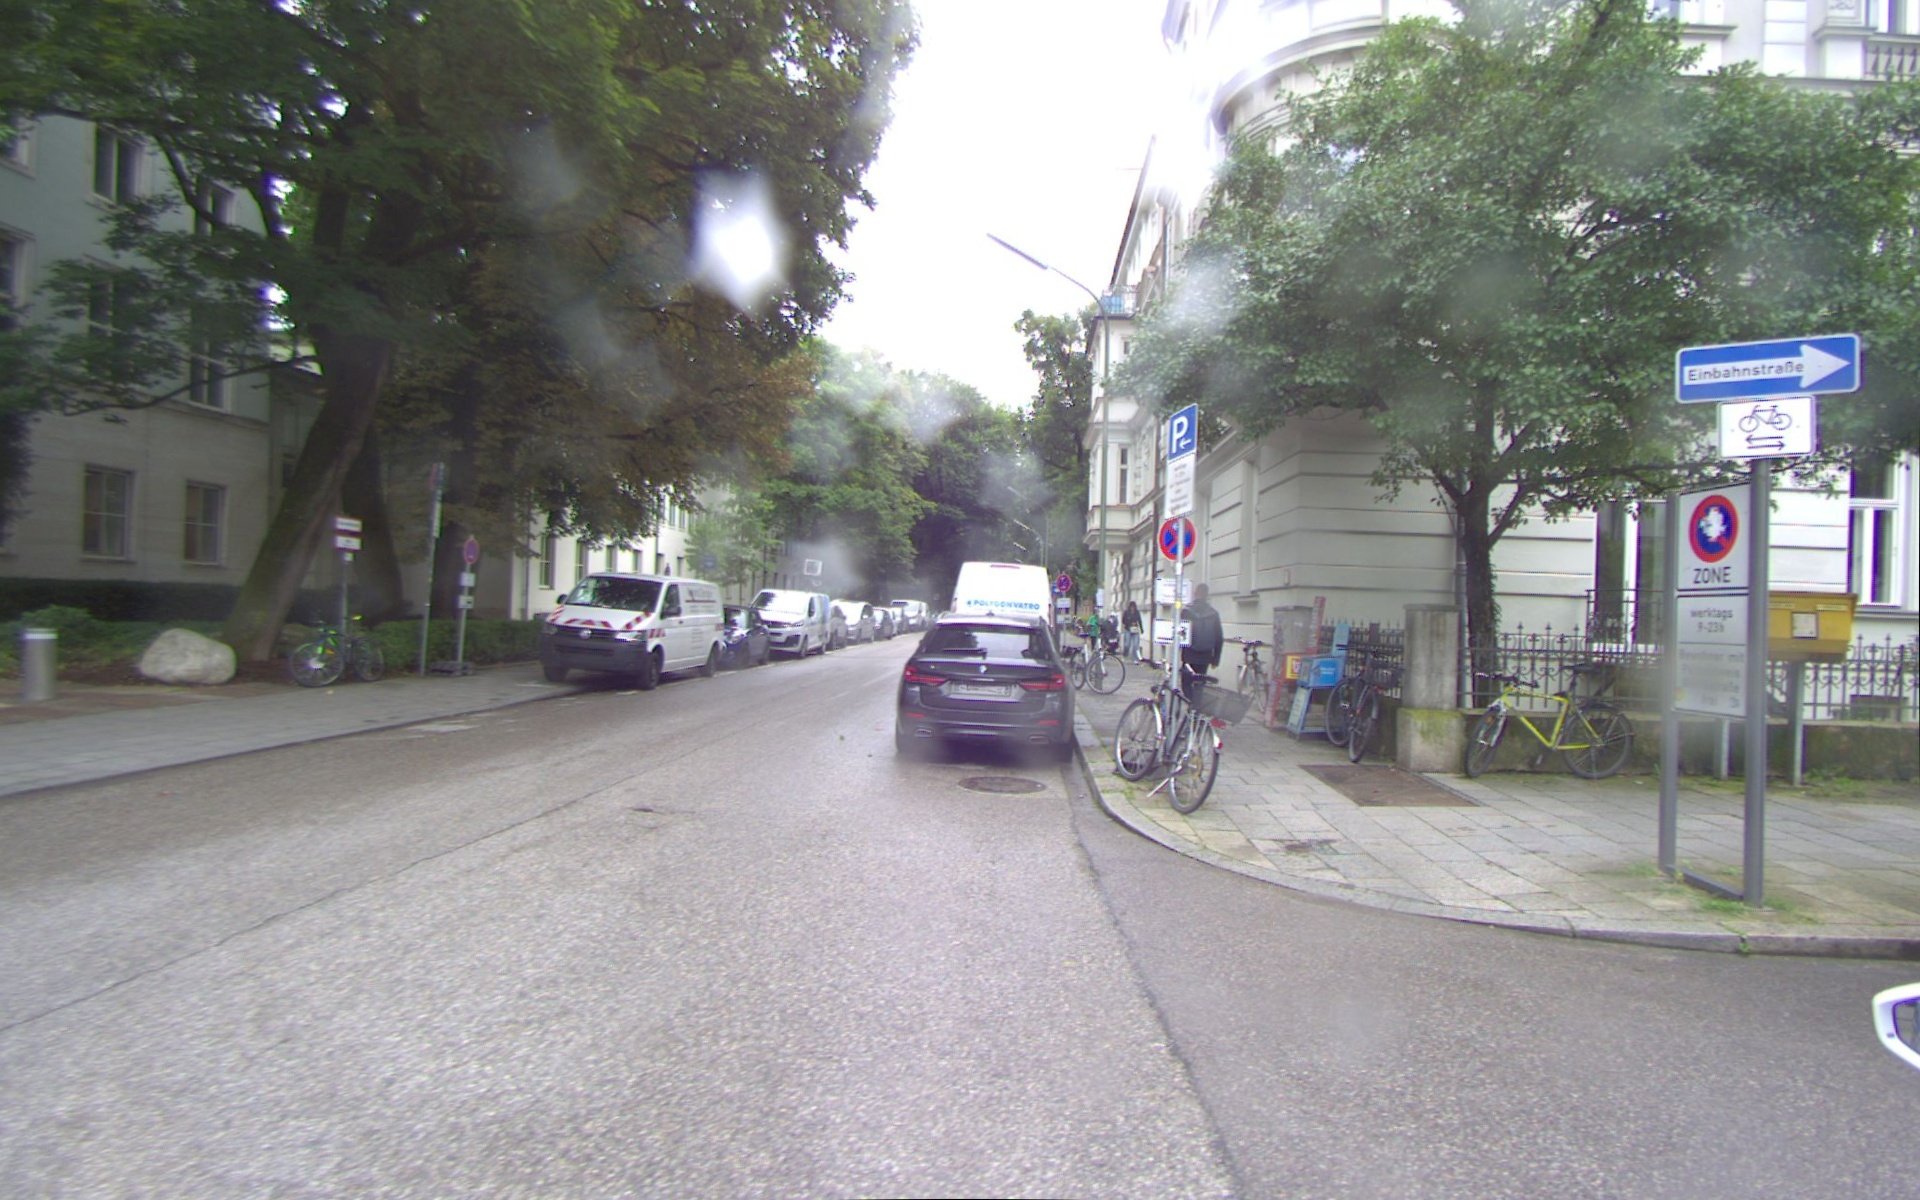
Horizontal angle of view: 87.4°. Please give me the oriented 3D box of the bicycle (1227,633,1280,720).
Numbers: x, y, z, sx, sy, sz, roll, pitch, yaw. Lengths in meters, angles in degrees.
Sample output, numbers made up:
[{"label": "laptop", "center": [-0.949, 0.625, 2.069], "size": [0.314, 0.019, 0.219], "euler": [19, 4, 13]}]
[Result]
[{"label": "bicycle", "center": [3.991, 1.005, 13.739], "size": [0.537, 1.074, 1.752], "euler": [1, -1, 12]}]

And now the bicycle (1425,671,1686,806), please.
[{"label": "bicycle", "center": [5.172, 1.190, 8.803], "size": [1.890, 1.042, 0.557], "euler": [1, 1, 6]}]

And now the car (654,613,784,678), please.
[{"label": "car", "center": [-5.777, 1.054, 24.630], "size": [2.176, 1.347, 3.948], "euler": [3, -1, 0]}]

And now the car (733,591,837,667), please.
[{"label": "car", "center": [-5.153, 0.843, 30.413], "size": [2.148, 1.982, 5.167], "euler": [3, -1, 0]}]

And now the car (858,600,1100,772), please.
[{"label": "car", "center": [0.359, 0.837, 11.573], "size": [2.234, 1.566, 4.589], "euler": [0, -1, 5]}]

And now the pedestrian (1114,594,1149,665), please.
[{"label": "pedestrian", "center": [4.656, 0.794, 27.267], "size": [0.844, 1.859, 0.667], "euler": [1, 0, 4]}]

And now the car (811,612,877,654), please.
[{"label": "car", "center": [-4.762, 1.344, 41.817], "size": [2.035, 1.539, 4.239], "euler": [3, -1, 3]}]

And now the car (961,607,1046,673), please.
[{"label": "car", "center": [1.139, 1.059, 27.366], "size": [2.102, 1.651, 4.317], "euler": [0, -1, 1]}]

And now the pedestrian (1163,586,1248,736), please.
[{"label": "pedestrian", "center": [2.920, 0.710, 12.028], "size": [0.843, 1.712, 0.976], "euler": [0, -1, 5]}]

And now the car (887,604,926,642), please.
[{"label": "car", "center": [-3.324, 1.437, 63.378], "size": [1.969, 2.215, 4.697], "euler": [3, -1, 2]}]

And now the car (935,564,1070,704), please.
[{"label": "car", "center": [0.734, 0.601, 18.532], "size": [2.167, 2.237, 4.856], "euler": [0, -1, 1]}]

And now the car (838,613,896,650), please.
[{"label": "car", "center": [-4.268, 1.449, 46.791], "size": [1.927, 1.547, 4.045], "euler": [3, -1, 5]}]

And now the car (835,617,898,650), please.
[{"label": "car", "center": [-4.288, 1.545, 46.724], "size": [2.082, 1.347, 4.140], "euler": [3, -1, 6]}]

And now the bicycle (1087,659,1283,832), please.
[{"label": "bicycle", "center": [1.706, 1.070, 8.047], "size": [0.644, 1.042, 2.196], "euler": [1, 0, -12]}]

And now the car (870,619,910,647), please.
[{"label": "car", "center": [-3.734, 1.724, 54.135], "size": [1.789, 1.347, 4.100], "euler": [3, -1, 0]}]

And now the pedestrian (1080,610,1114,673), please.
[{"label": "pedestrian", "center": [3.825, 1.150, 28.084], "size": [0.844, 1.710, 0.777], "euler": [1, 0, 4]}]

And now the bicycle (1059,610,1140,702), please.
[{"label": "bicycle", "center": [2.457, 0.957, 17.951], "size": [0.698, 1.535, 2.033], "euler": [1, -1, -14]}]

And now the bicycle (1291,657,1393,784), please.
[{"label": "bicycle", "center": [3.824, 1.162, 10.186], "size": [0.422, 1.042, 1.891], "euler": [1, 0, 4]}]

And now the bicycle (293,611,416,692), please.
[{"label": "bicycle", "center": [-9.075, 0.757, 15.135], "size": [0.622, 1.117, 1.768], "euler": [3, -1, 5]}]

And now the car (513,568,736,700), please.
[{"label": "car", "center": [-5.943, 0.585, 18.713], "size": [2.211, 1.982, 5.454], "euler": [3, -1, 0]}]

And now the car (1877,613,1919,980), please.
[{"label": "car", "center": [6.880, 0.920, 3.830], "size": [4.954, 1.673, 1.945], "euler": [2, -4, 0]}]
